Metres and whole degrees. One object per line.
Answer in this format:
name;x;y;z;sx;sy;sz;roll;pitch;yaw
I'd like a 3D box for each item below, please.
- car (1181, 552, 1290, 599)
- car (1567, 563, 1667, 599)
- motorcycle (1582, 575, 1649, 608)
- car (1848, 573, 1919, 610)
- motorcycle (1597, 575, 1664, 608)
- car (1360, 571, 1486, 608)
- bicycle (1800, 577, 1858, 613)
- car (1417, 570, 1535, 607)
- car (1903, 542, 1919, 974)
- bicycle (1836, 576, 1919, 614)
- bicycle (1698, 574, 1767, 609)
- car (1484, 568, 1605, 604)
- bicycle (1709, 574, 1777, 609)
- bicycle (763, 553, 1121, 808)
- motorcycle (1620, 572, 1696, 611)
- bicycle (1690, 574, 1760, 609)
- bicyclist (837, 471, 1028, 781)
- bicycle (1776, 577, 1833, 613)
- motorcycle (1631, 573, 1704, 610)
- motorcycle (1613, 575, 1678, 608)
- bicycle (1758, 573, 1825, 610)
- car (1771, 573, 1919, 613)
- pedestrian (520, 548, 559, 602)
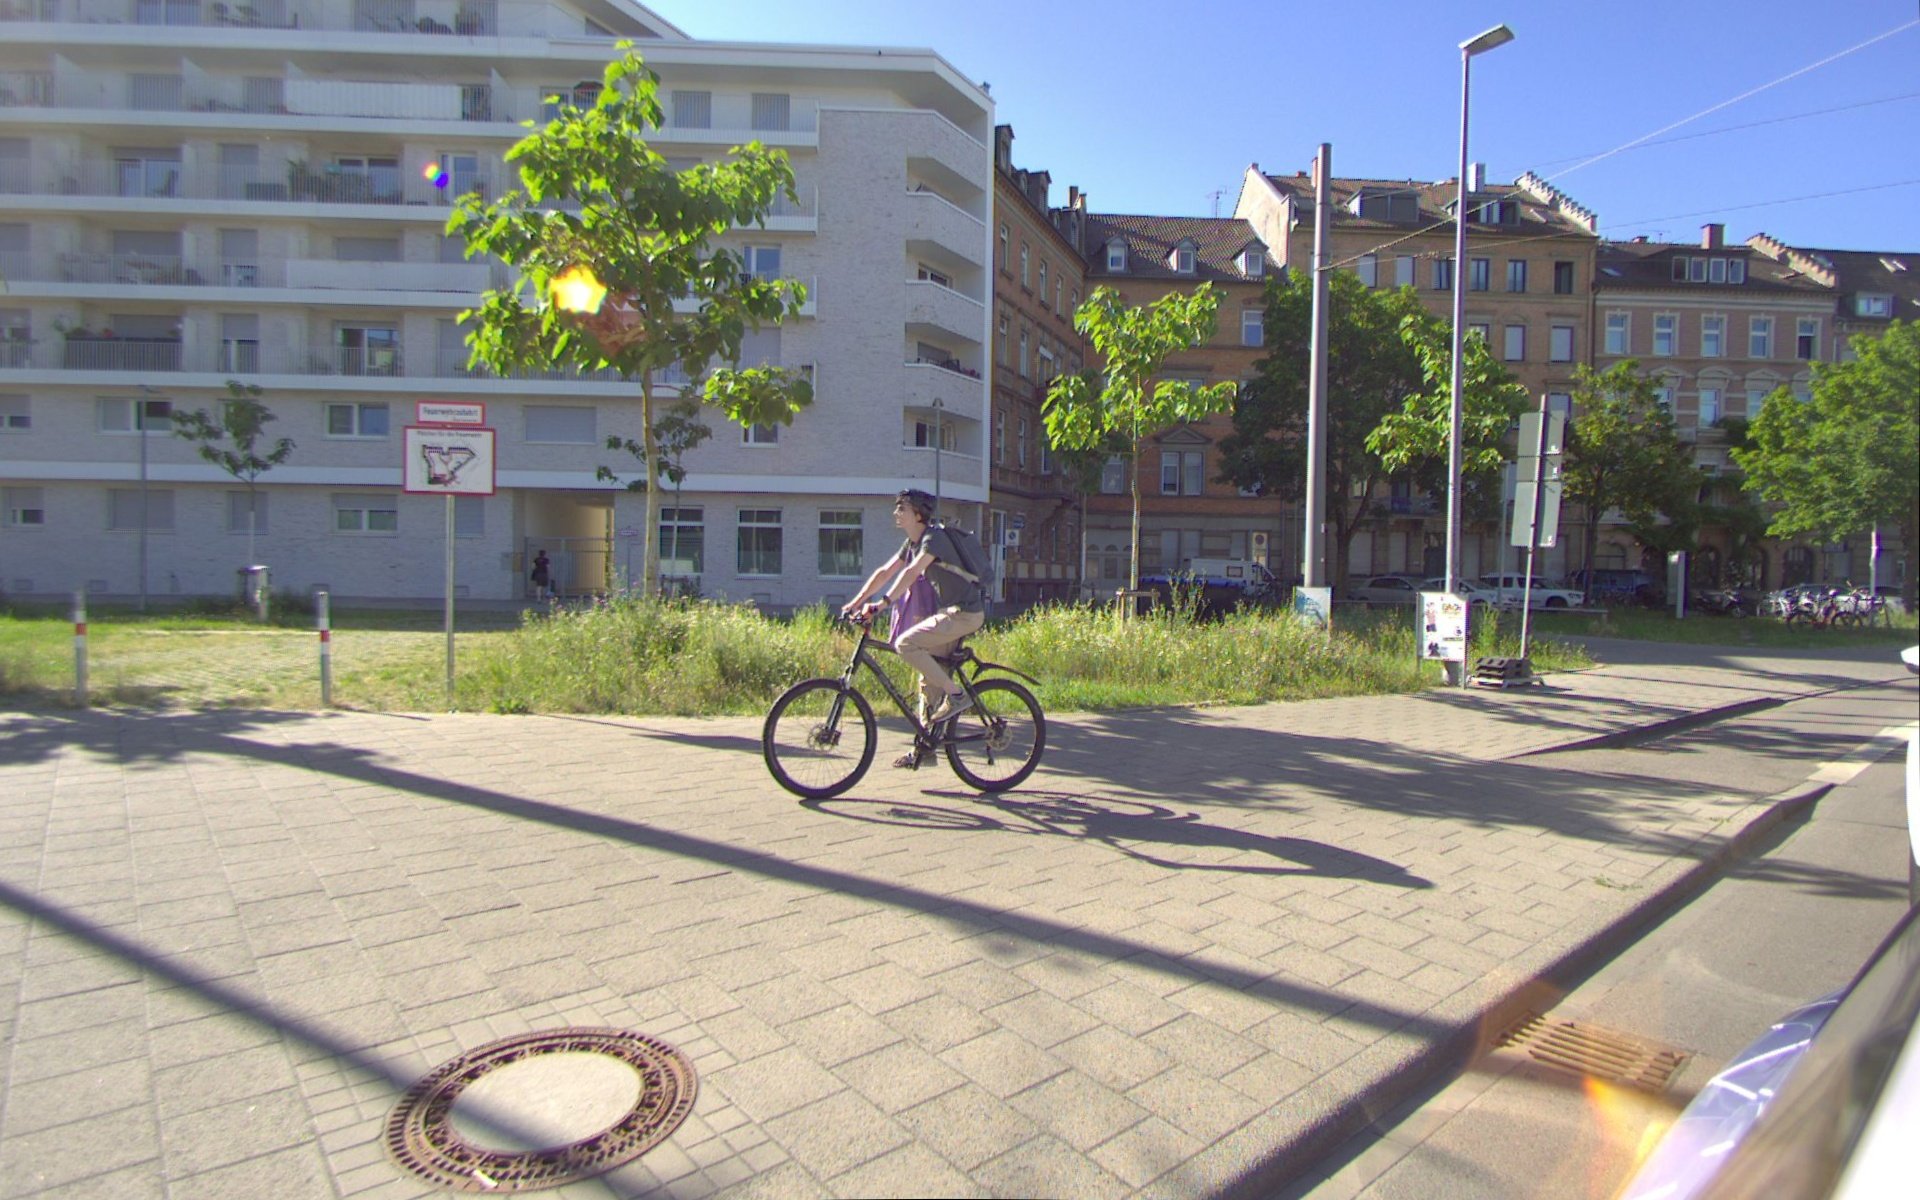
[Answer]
car;12.664;-1.160;46.790;4.416;2.062;2.054;1;2;0
car;30.879;-0.926;47.657;3.631;1.607;1.552;1;2;0
motorcycle;26.030;-0.332;40.233;0.649;1.293;2.324;0;0;-18
car;37.826;-0.333;39.969;1.649;1.423;3.832;-1;3;-32
motorcycle;26.701;-0.340;40.364;0.649;1.300;2.324;0;0;-18
car;17.352;-0.426;38.115;1.648;1.267;4.170;0;3;-28
bicycle;32.038;-0.196;37.341;0.653;1.284;2.196;0;0;12
car;19.676;-0.472;38.725;1.648;1.267;3.709;0;3;-28
car;5.872;0.608;4.724;4.323;1.667;1.840;0;0;-43
bicycle;31.633;-0.169;34.770;2.180;1.284;0.657;0;0;25
bicycle;29.084;-0.323;38.159;0.649;1.284;2.208;0;0;-9
car;22.332;-0.582;38.781;1.513;1.267;3.700;-1;3;-39
bicycle;29.727;-0.330;38.470;0.649;1.284;2.208;0;0;-9
bicycle;-0.111;0.430;6.152;2.031;1.378;0.739;0;1;-20
motorcycle;25.342;-0.310;36.787;0.650;1.347;2.207;0;0;-28
bicycle;28.373;-0.314;37.572;0.649;1.284;2.208;0;0;-11
bicyclist;-0.186;0.137;6.117;0.951;1.715;0.737;0;1;-20
bicycle;30.944;-0.189;37.118;0.653;1.284;2.196;0;0;12
motorcycle;26.158;-0.325;37.476;0.649;1.339;2.208;0;0;-23
motorcycle;27.491;-0.339;40.618;0.649;1.284;2.209;0;0;-18
bicycle;29.277;-0.295;35.680;0.651;1.284;2.202;0;0;4
car;34.689;-0.324;39.599;1.651;1.423;4.324;-1;3;-38
pedestrian;-13.628;-0.817;32.825;0.829;1.717;0.985;2;2;2
